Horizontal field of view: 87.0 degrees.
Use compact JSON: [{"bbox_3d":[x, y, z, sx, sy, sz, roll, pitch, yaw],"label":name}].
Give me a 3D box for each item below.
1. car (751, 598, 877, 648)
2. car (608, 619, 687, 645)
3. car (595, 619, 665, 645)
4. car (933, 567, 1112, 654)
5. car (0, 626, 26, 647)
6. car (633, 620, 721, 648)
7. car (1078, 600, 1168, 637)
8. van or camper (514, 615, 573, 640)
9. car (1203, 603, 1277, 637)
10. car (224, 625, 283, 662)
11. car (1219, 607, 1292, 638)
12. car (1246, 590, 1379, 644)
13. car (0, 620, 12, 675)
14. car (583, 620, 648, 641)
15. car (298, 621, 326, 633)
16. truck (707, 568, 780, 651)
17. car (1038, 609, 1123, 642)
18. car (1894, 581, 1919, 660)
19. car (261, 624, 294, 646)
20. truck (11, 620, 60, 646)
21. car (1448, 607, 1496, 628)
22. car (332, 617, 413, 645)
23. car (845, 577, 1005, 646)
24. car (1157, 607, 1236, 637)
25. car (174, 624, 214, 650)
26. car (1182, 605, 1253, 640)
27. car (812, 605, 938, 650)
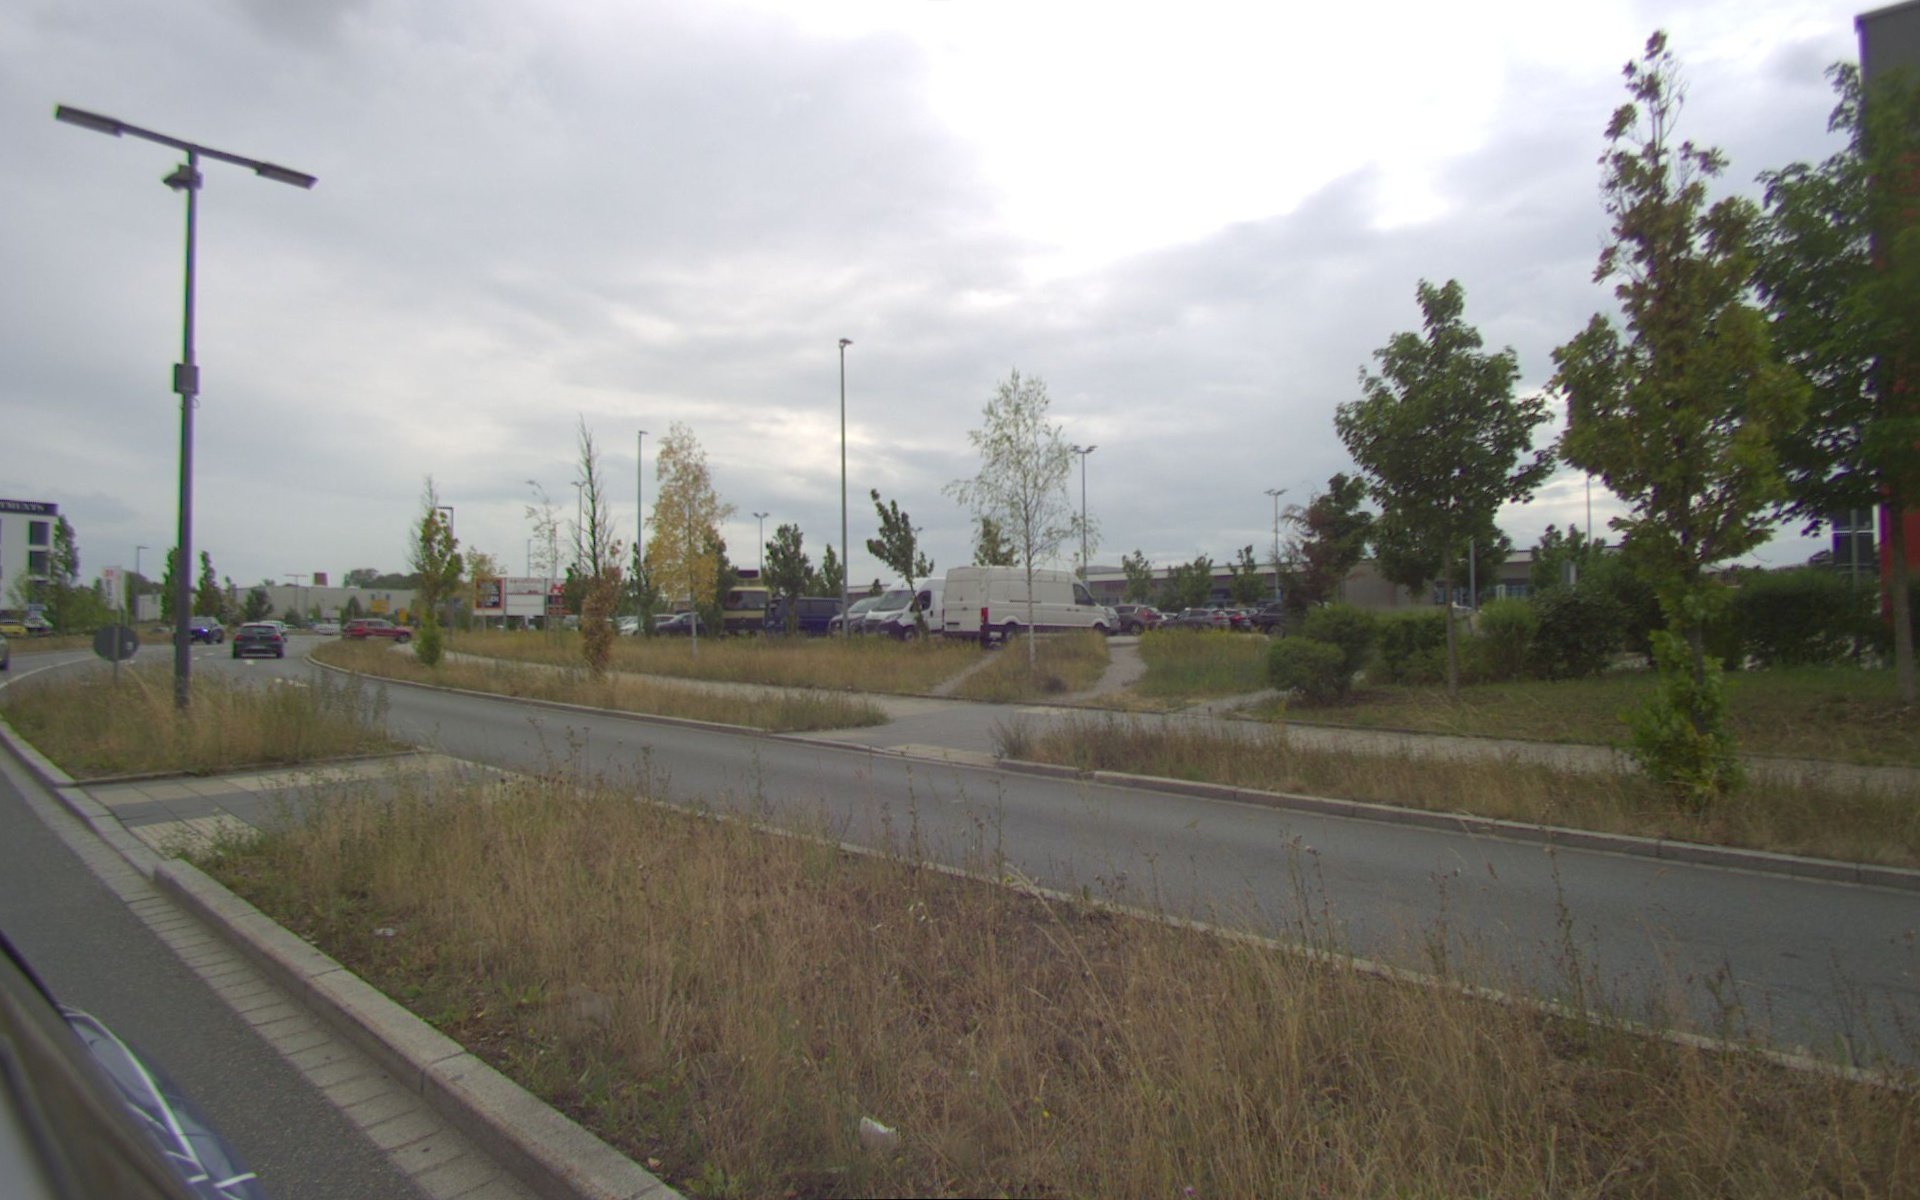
[{"bbox_3d":[-6.154,0.998,42.910,4.838,2.005,2.183,1,-2,-38],"label":"car"},{"bbox_3d":[-19.044,1.961,61.704,4.190,1.571,1.994,1,-3,-35],"label":"car"},{"bbox_3d":[-22.475,2.146,68.910,4.183,1.736,2.034,1,-2,-30],"label":"car"},{"bbox_3d":[2.183,0.381,33.353,6.334,2.618,2.245,1,-2,-45],"label":"car"},{"bbox_3d":[-78.073,2.970,82.962,1.739,1.699,4.420,2,-3,-38],"label":"car"},{"bbox_3d":[-15.373,1.850,55.032,4.174,1.446,2.003,1,-3,-32],"label":"car"},{"bbox_3d":[8.547,0.976,53.118,4.263,1.863,1.973,-1,-2,40],"label":"car"},{"bbox_3d":[-47.486,3.114,115.392,5.774,2.821,2.249,1,-2,-35],"label":"van or camper"},{"bbox_3d":[17.284,1.261,62.512,1.968,2.029,4.007,1,-2,-39],"label":"car"},{"bbox_3d":[-29.452,1.830,42.288,1.816,1.418,4.011,3,-4,-33],"label":"car"},{"bbox_3d":[18.821,1.436,64.583,1.968,1.912,4.007,1,-2,-39],"label":"car"},{"bbox_3d":[14.097,0.727,40.653,4.638,2.048,1.972,-2,-3,43],"label":"car"},{"bbox_3d":[-28.660,1.380,28.891,1.728,1.597,4.010,0,-2,-34],"label":"car"},{"bbox_3d":[-25.051,2.243,73.582,4.121,1.480,1.892,1,-2,-31],"label":"car"},{"bbox_3d":[-115.929,4.811,181.082,1.633,2.029,3.966,-1,-2,25],"label":"car"},{"bbox_3d":[-10.102,0.513,47.991,2.813,3.568,8.444,0,-1,-8],"label":"truck"},{"bbox_3d":[6.018,1.275,50.840,3.996,1.614,1.651,-1,-2,40],"label":"car"},{"bbox_3d":[19.519,0.361,18.206,1.980,1.564,4.370,-1,-1,12],"label":"car"},{"bbox_3d":[-46.902,2.438,69.540,1.680,1.449,4.041,1,-3,-36],"label":"car"},{"bbox_3d":[-87.982,3.153,96.391,2.196,2.343,8.236,1,-3,-34],"label":"truck"},{"bbox_3d":[40.591,1.399,80.186,3.937,1.619,2.003,1,-2,-40],"label":"car"},{"bbox_3d":[-38.151,2.045,65.837,1.792,1.682,4.295,0,-4,22],"label":"car"},{"bbox_3d":[-1.180,0.446,37.098,2.211,2.324,6.000,-2,-2,44],"label":"car"},{"bbox_3d":[13.646,1.279,58.394,3.996,1.684,1.974,-1,-2,40],"label":"car"},{"bbox_3d":[-49.462,2.377,65.386,1.728,1.597,4.011,0,-2,-33],"label":"car"},{"bbox_3d":[15.379,1.343,60.604,1.723,2.029,4.010,1,-2,-35],"label":"car"},{"bbox_3d":[-3.231,1.082,39.414,1.994,1.629,4.849,-2,-2,42],"label":"car"}]
